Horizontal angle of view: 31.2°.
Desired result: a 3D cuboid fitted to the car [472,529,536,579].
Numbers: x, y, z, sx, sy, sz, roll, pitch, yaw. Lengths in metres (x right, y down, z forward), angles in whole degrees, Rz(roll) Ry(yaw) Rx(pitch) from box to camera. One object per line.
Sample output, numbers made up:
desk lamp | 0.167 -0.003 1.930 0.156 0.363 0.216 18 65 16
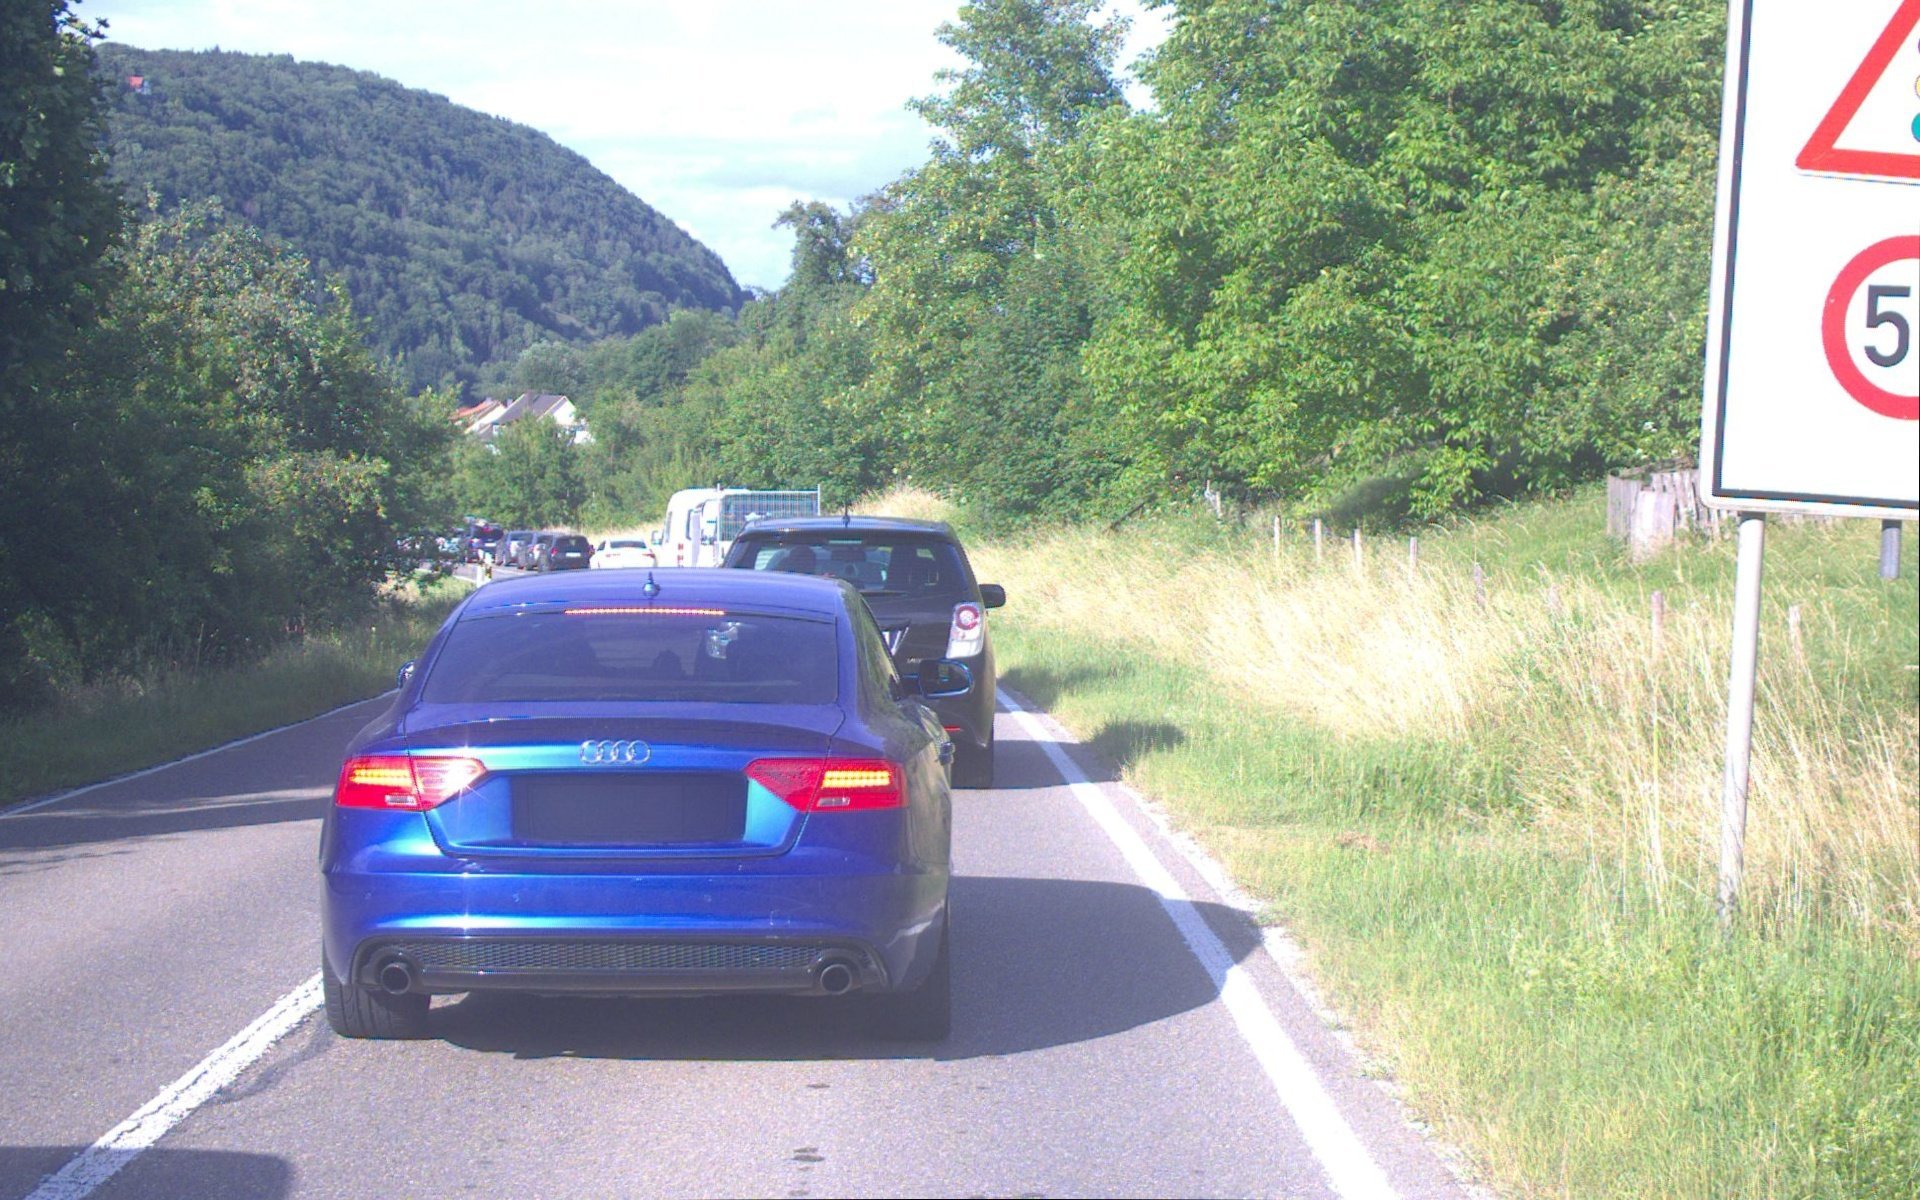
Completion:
car | -18.674 -1.881 140.633 1.993 2.007 4.001 1 1 -16

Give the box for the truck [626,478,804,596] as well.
truck | -6.109 -1.545 83.940 2.863 2.656 10.648 1 1 -12

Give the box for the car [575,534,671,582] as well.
car | -10.725 -1.351 109.223 1.993 1.477 4.001 1 1 -22

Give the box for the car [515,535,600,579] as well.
car | -14.199 -1.527 121.164 1.993 1.477 4.001 1 1 -22

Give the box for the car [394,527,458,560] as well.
car | -24.671 -2.618 158.743 1.993 1.477 4.001 1 1 -24

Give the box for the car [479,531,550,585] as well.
car | -17.031 -1.609 131.277 1.993 2.007 4.001 1 1 -17

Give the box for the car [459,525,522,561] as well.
car | -20.009 -2.424 146.282 1.993 1.477 4.001 1 1 -18

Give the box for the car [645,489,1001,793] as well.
car | -0.825 0.211 21.514 1.993 1.696 4.000 1 1 -1

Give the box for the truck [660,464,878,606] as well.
truck | -4.080 -1.331 70.591 2.863 2.656 10.396 1 1 -12

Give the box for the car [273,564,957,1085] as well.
car | -0.928 0.575 11.116 1.793 1.355 4.000 1 1 0

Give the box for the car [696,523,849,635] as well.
car | -2.589 -0.299 48.302 1.993 1.477 4.000 1 1 -1
